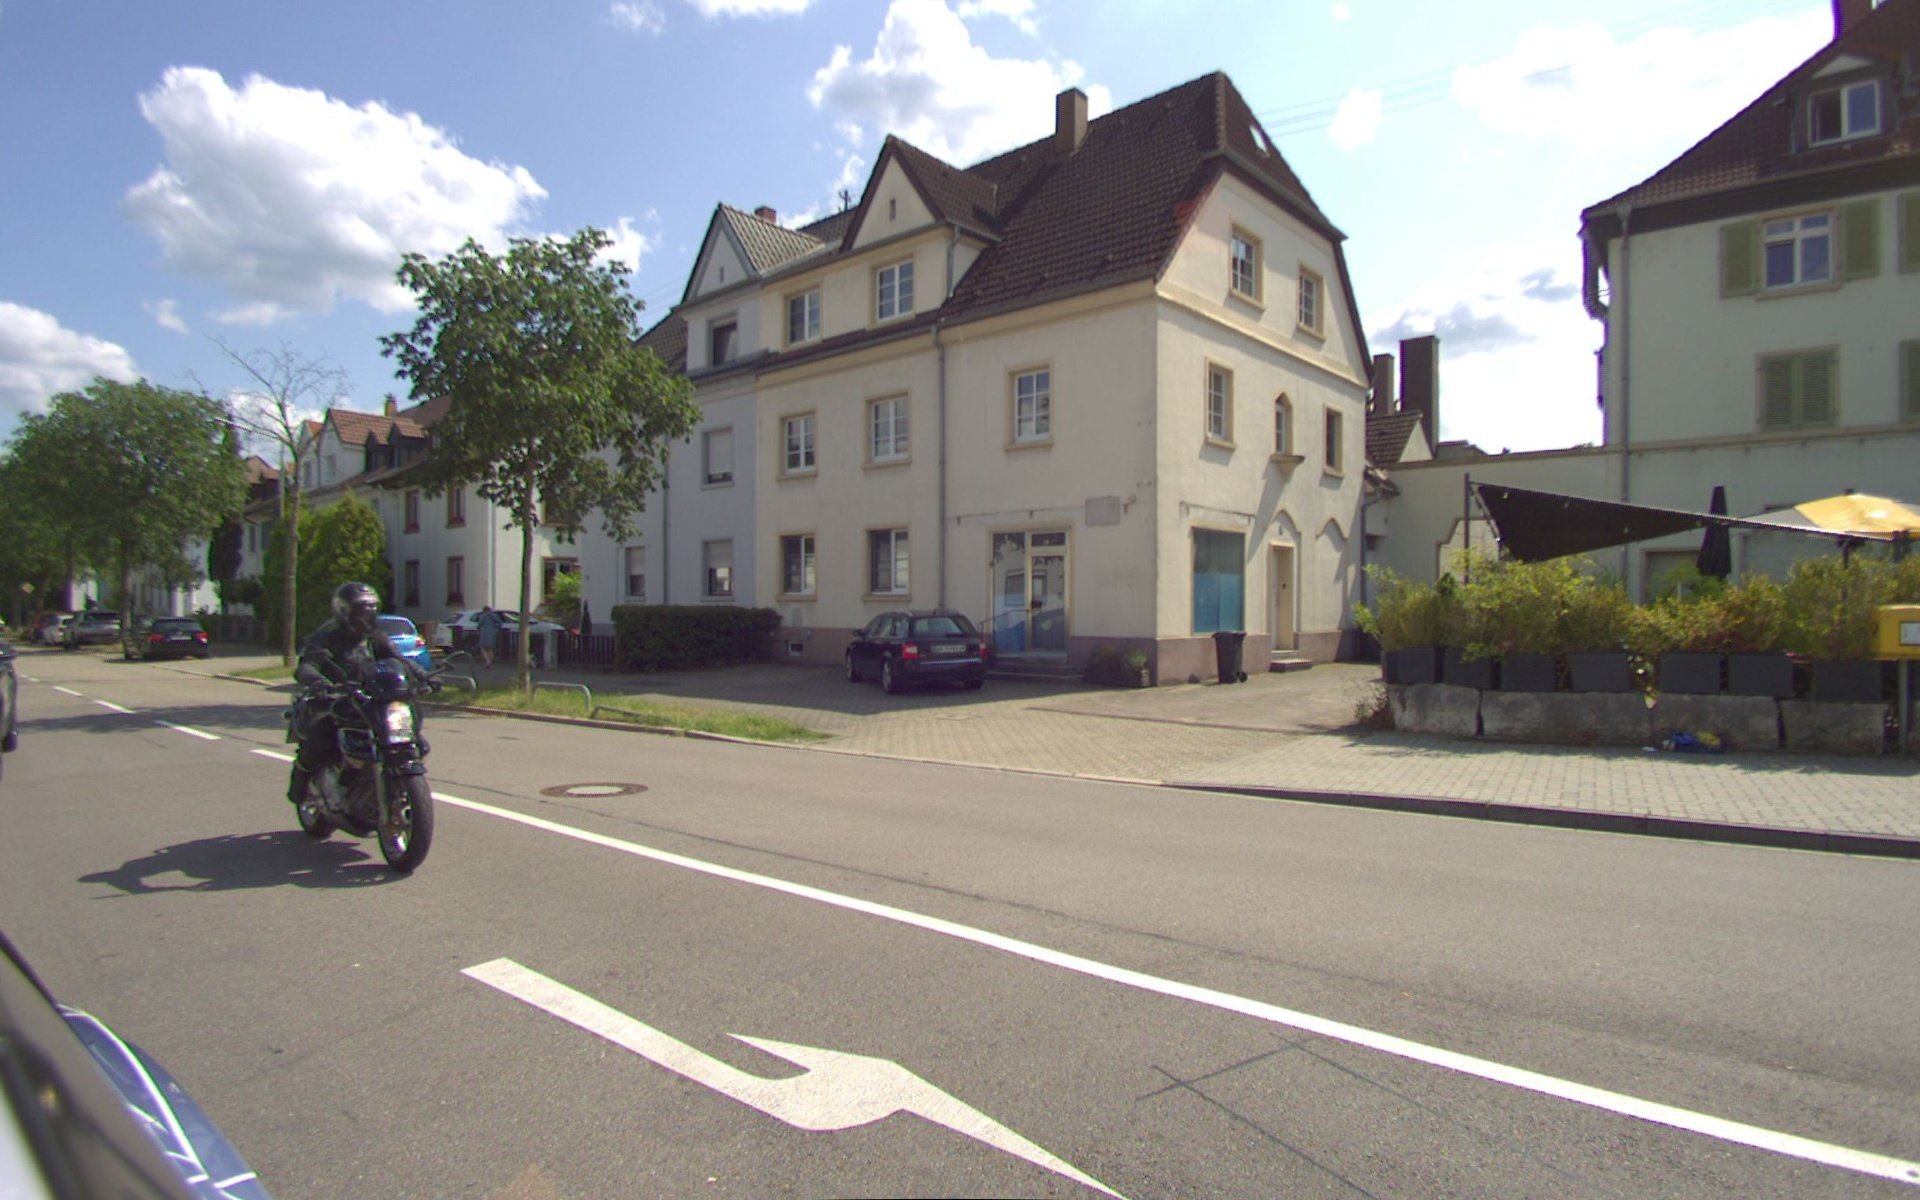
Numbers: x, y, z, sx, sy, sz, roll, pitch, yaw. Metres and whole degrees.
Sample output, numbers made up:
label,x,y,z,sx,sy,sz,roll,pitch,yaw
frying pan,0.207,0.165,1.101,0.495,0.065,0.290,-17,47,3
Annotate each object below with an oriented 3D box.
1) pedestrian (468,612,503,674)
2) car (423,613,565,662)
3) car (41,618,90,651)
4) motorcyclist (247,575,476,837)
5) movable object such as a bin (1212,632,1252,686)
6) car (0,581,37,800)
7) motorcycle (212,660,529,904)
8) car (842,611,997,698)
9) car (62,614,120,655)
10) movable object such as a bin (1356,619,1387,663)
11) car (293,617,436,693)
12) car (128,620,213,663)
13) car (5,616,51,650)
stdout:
label,x,y,z,sx,sy,sz,roll,pitch,yaw
pedestrian,-11.875,1.066,25.342,0.623,1.547,0.618,1,-2,-45
car,-14.843,1.156,32.348,1.711,1.465,3.753,-1,-1,44
car,-40.873,1.556,46.206,1.601,1.436,3.004,0,-1,-43
motorcyclist,-3.618,0.594,6.113,1.098,1.409,0.815,-4,-2,38
movable object such as a bin,5.116,1.100,19.041,0.510,0.979,0.607,-1,-2,41
car,-10.040,0.764,9.339,4.873,1.777,1.753,-1,-1,42
motorcycle,-3.617,0.968,6.108,2.355,1.136,0.833,-1,-1,38
car,-0.866,0.914,18.548,1.732,1.397,4.115,0,-1,-19
car,-36.308,1.410,42.283,3.575,1.667,1.541,-1,-2,45
movable object such as a bin,9.993,0.989,24.581,0.510,1.053,0.607,-1,-2,41
car,-12.514,1.095,21.227,3.153,1.473,1.687,-1,-1,41
car,-25.837,1.320,33.081,3.919,1.306,1.686,-1,-1,45
car,-47.852,1.687,51.946,3.252,1.667,1.541,-1,-2,45
